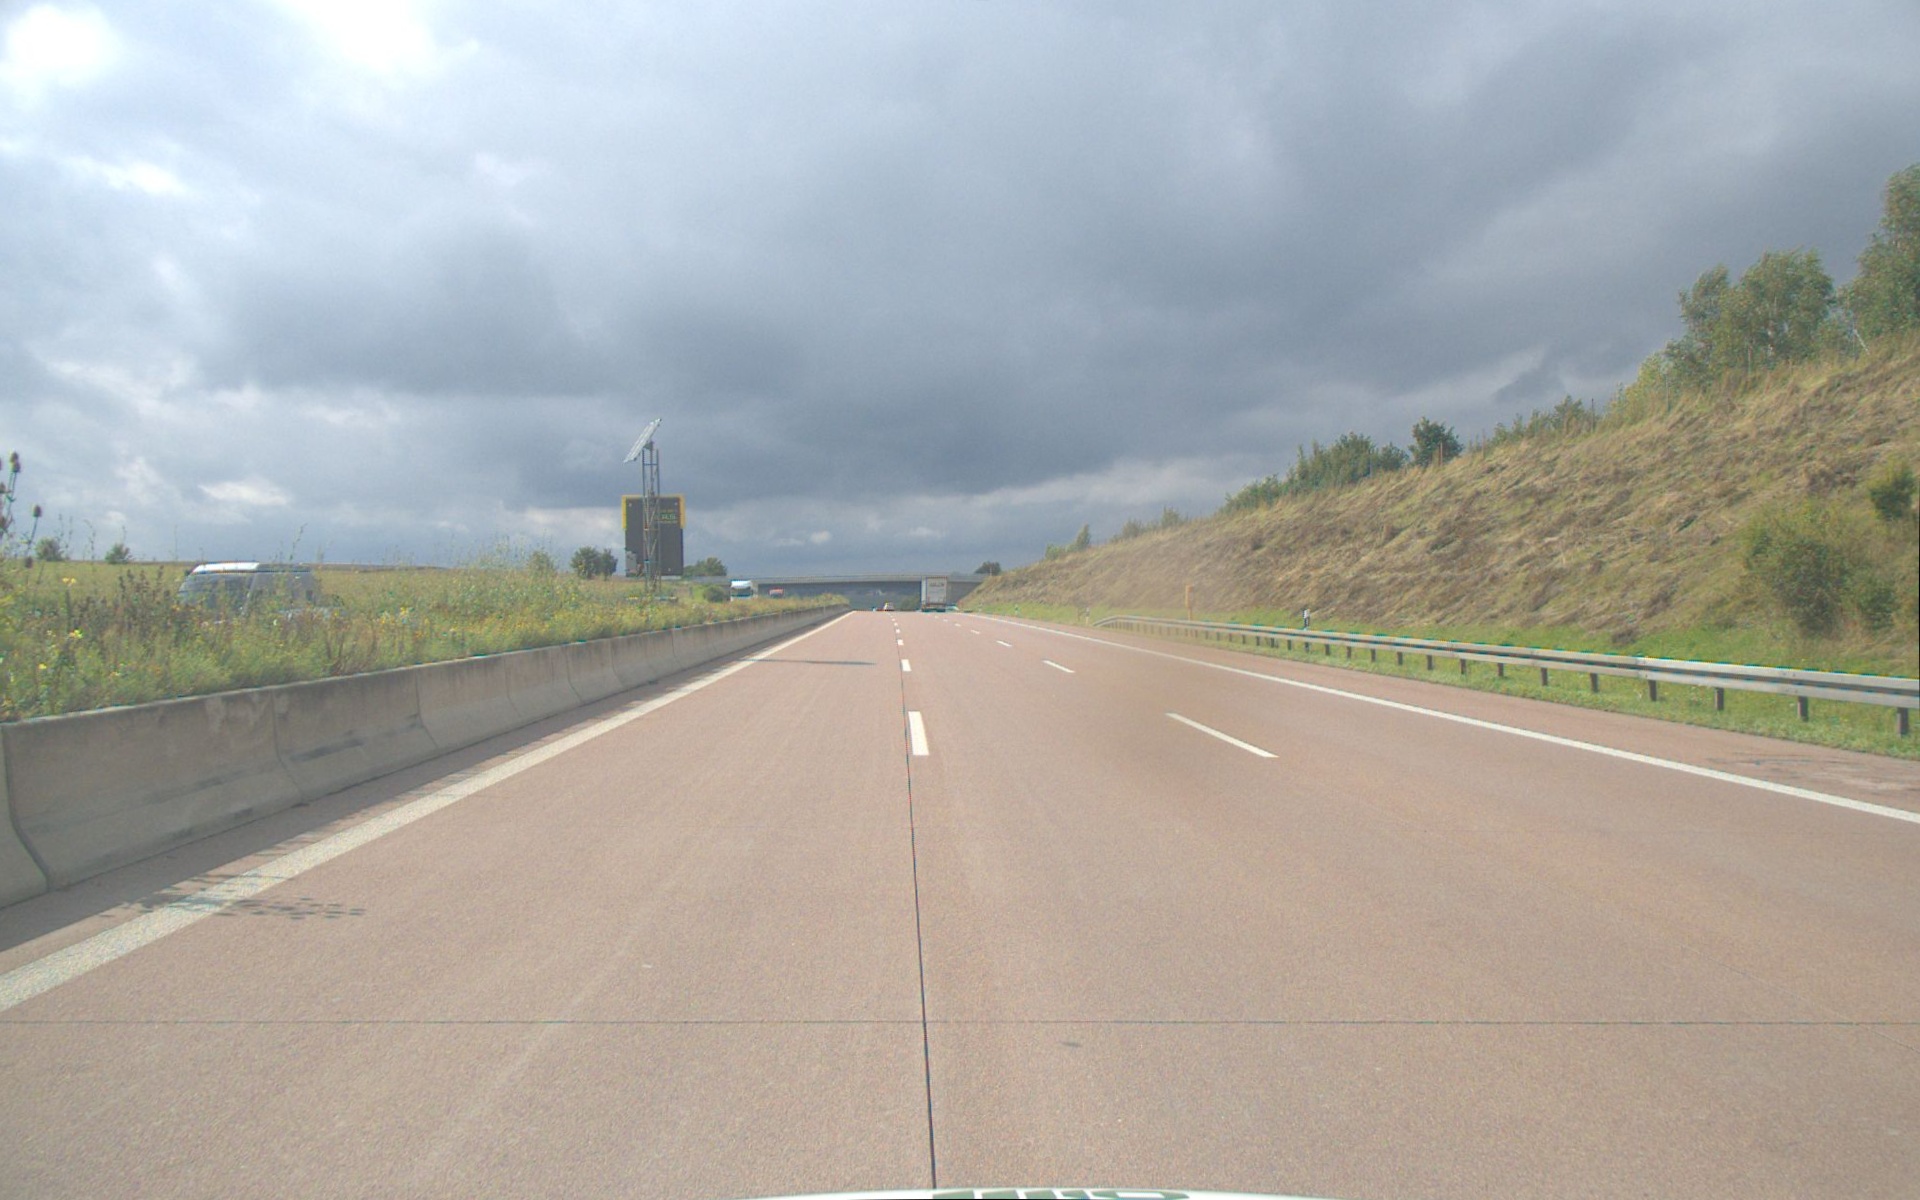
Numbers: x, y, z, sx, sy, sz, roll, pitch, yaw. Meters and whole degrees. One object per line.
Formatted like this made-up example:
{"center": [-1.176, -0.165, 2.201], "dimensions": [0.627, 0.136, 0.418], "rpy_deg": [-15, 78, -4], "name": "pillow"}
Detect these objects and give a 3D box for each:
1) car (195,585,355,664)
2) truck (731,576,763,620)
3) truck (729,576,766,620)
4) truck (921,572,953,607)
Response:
{"center": [-18.422, 0.608, 44.802], "dimensions": [2.015, 1.946, 5.702], "rpy_deg": [-1, 0, -1], "name": "car"}
{"center": [-26.015, -0.300, 201.994], "dimensions": [2.931, 5.154, 10.978], "rpy_deg": [2, 0, -3], "name": "truck"}
{"center": [-26.031, -0.293, 202.963], "dimensions": [2.929, 5.154, 10.985], "rpy_deg": [2, 0, 0], "name": "truck"}
{"center": [-2.788, -1.282, 198.138], "dimensions": [3.544, 4.014, 11.171], "rpy_deg": [2, 0, -1], "name": "truck"}
